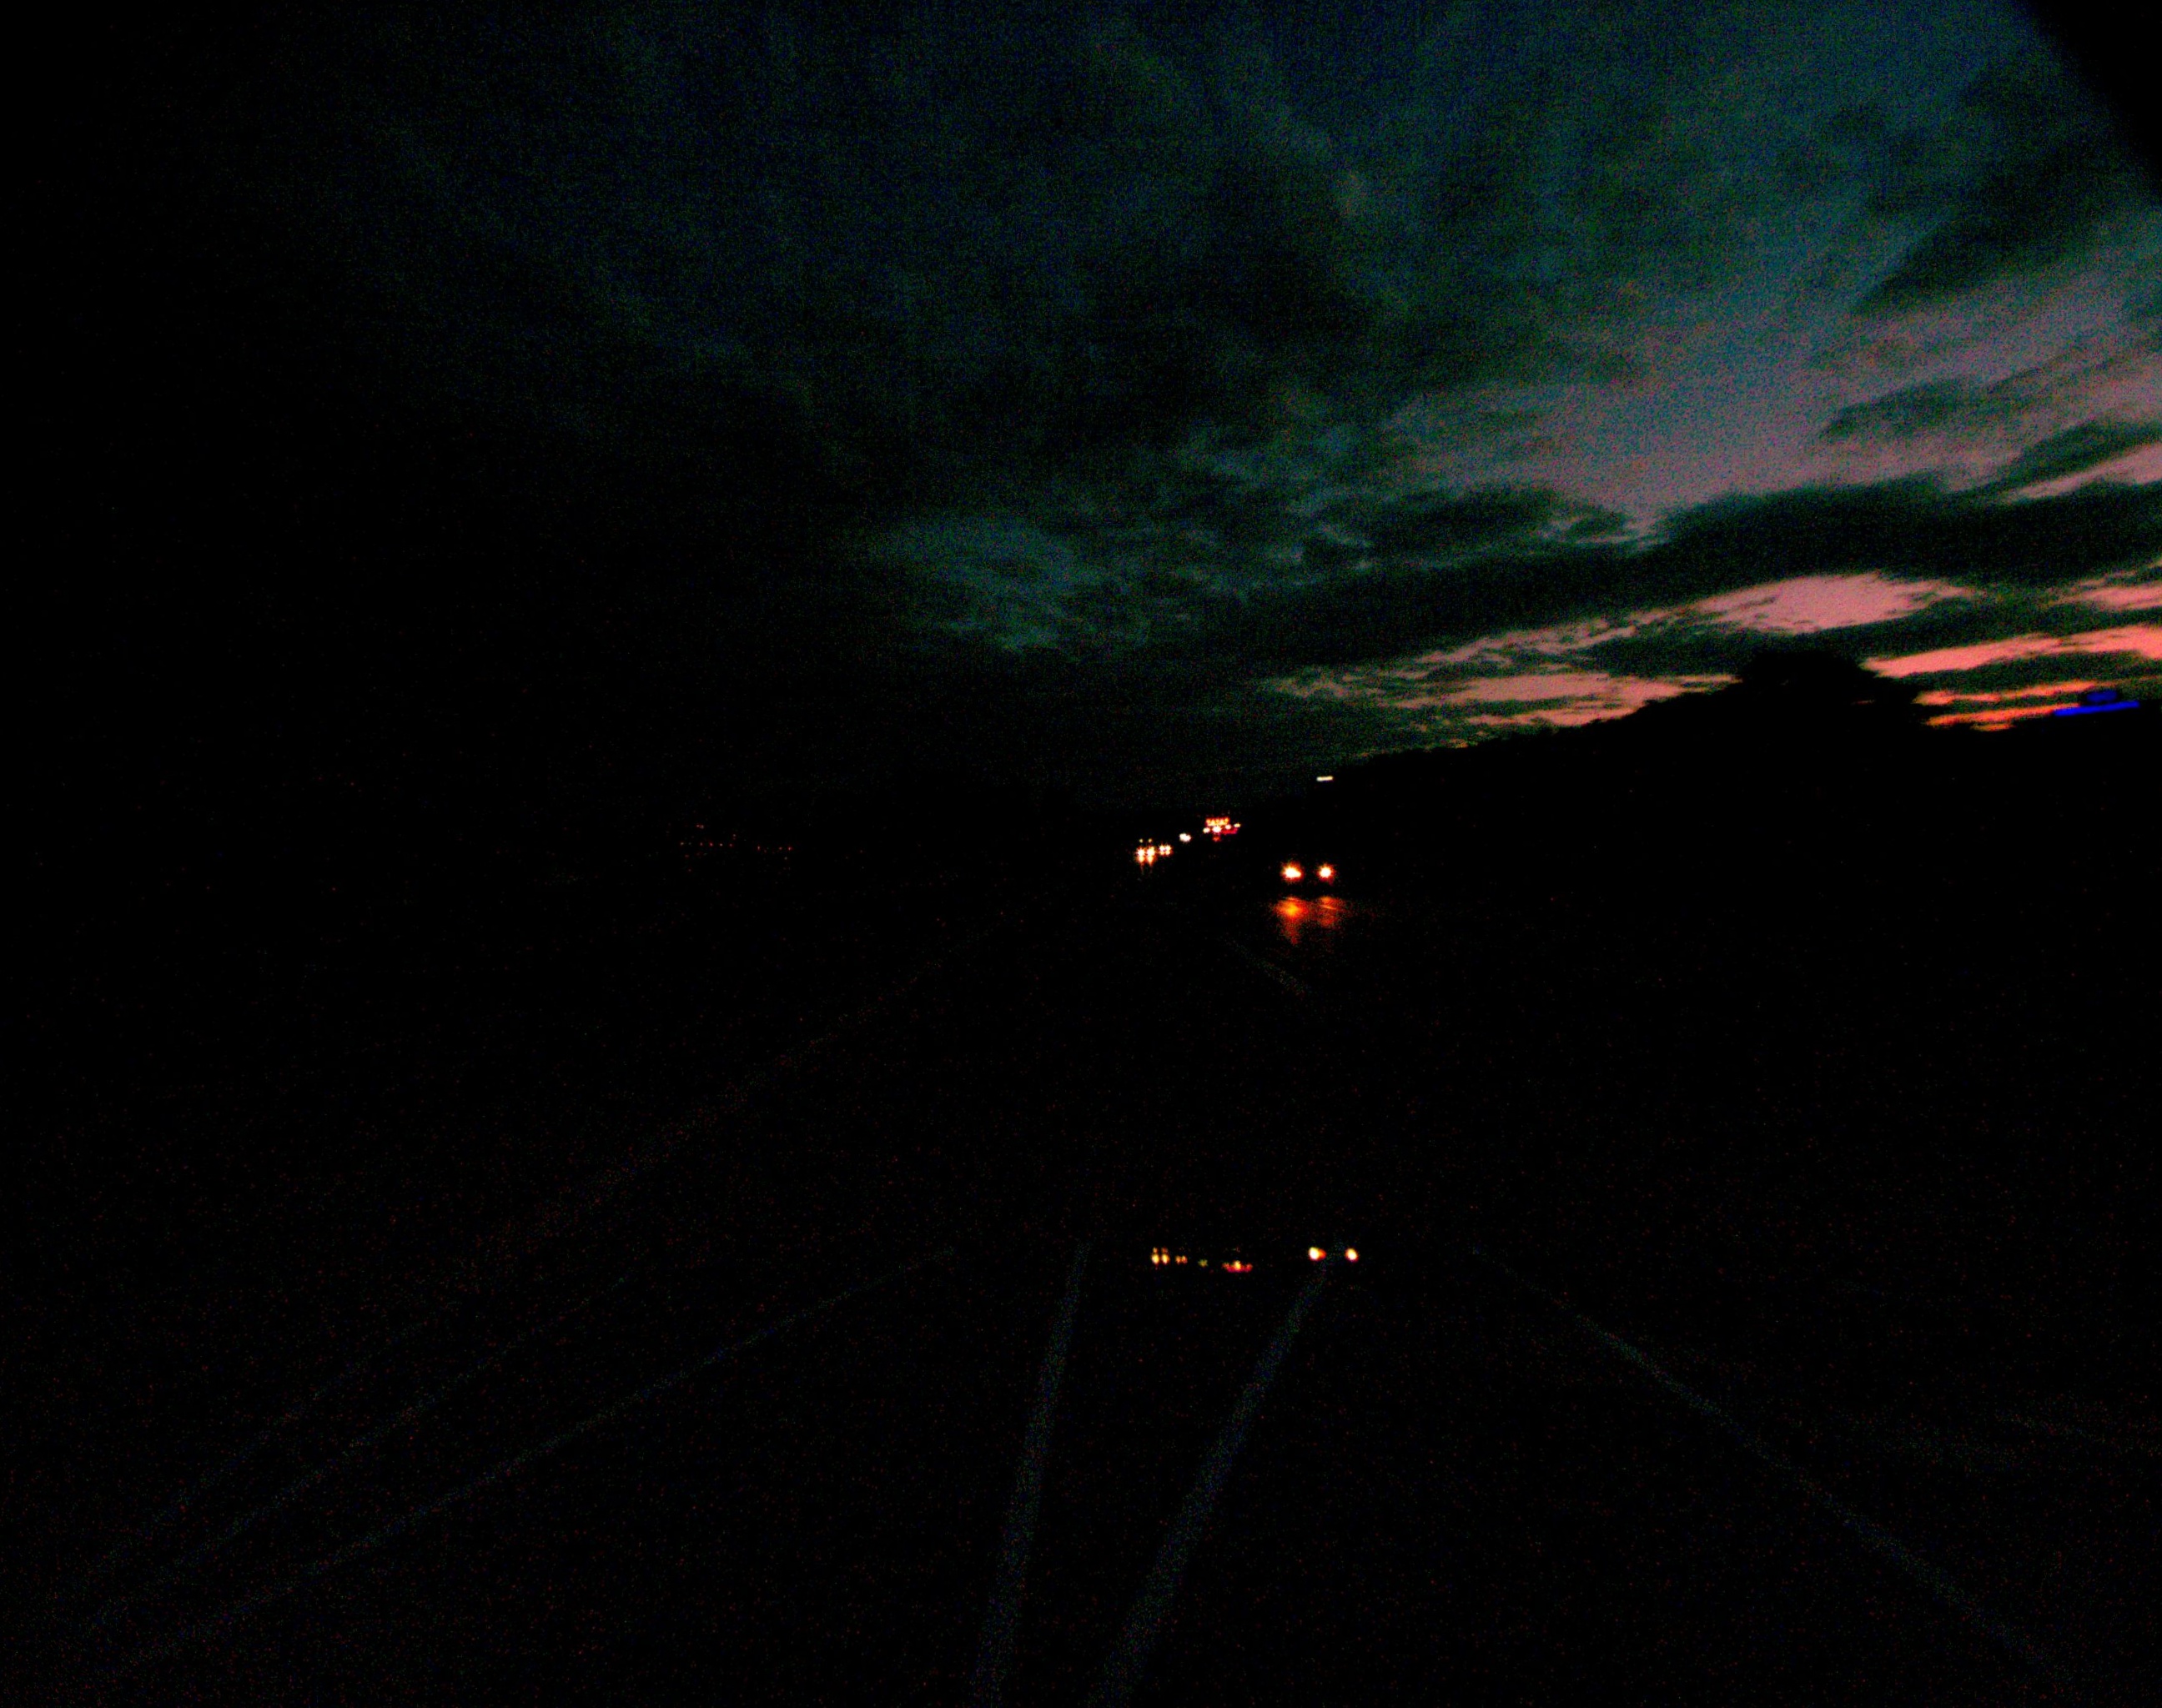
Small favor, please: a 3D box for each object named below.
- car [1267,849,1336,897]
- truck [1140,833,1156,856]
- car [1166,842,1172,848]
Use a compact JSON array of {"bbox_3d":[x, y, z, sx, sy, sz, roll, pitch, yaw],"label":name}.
[{"bbox_3d":[8.436,0.695,29.439,1.717,1.472,3.999,-3,3,4],"label":"car"},{"bbox_3d":[14.757,-2.230,166.004,3.025,4.374,11.614,-3,3,6],"label":"truck"},{"bbox_3d":[24.314,-2.481,209.963,1.652,1.655,3.775,-3,3,6],"label":"car"}]
